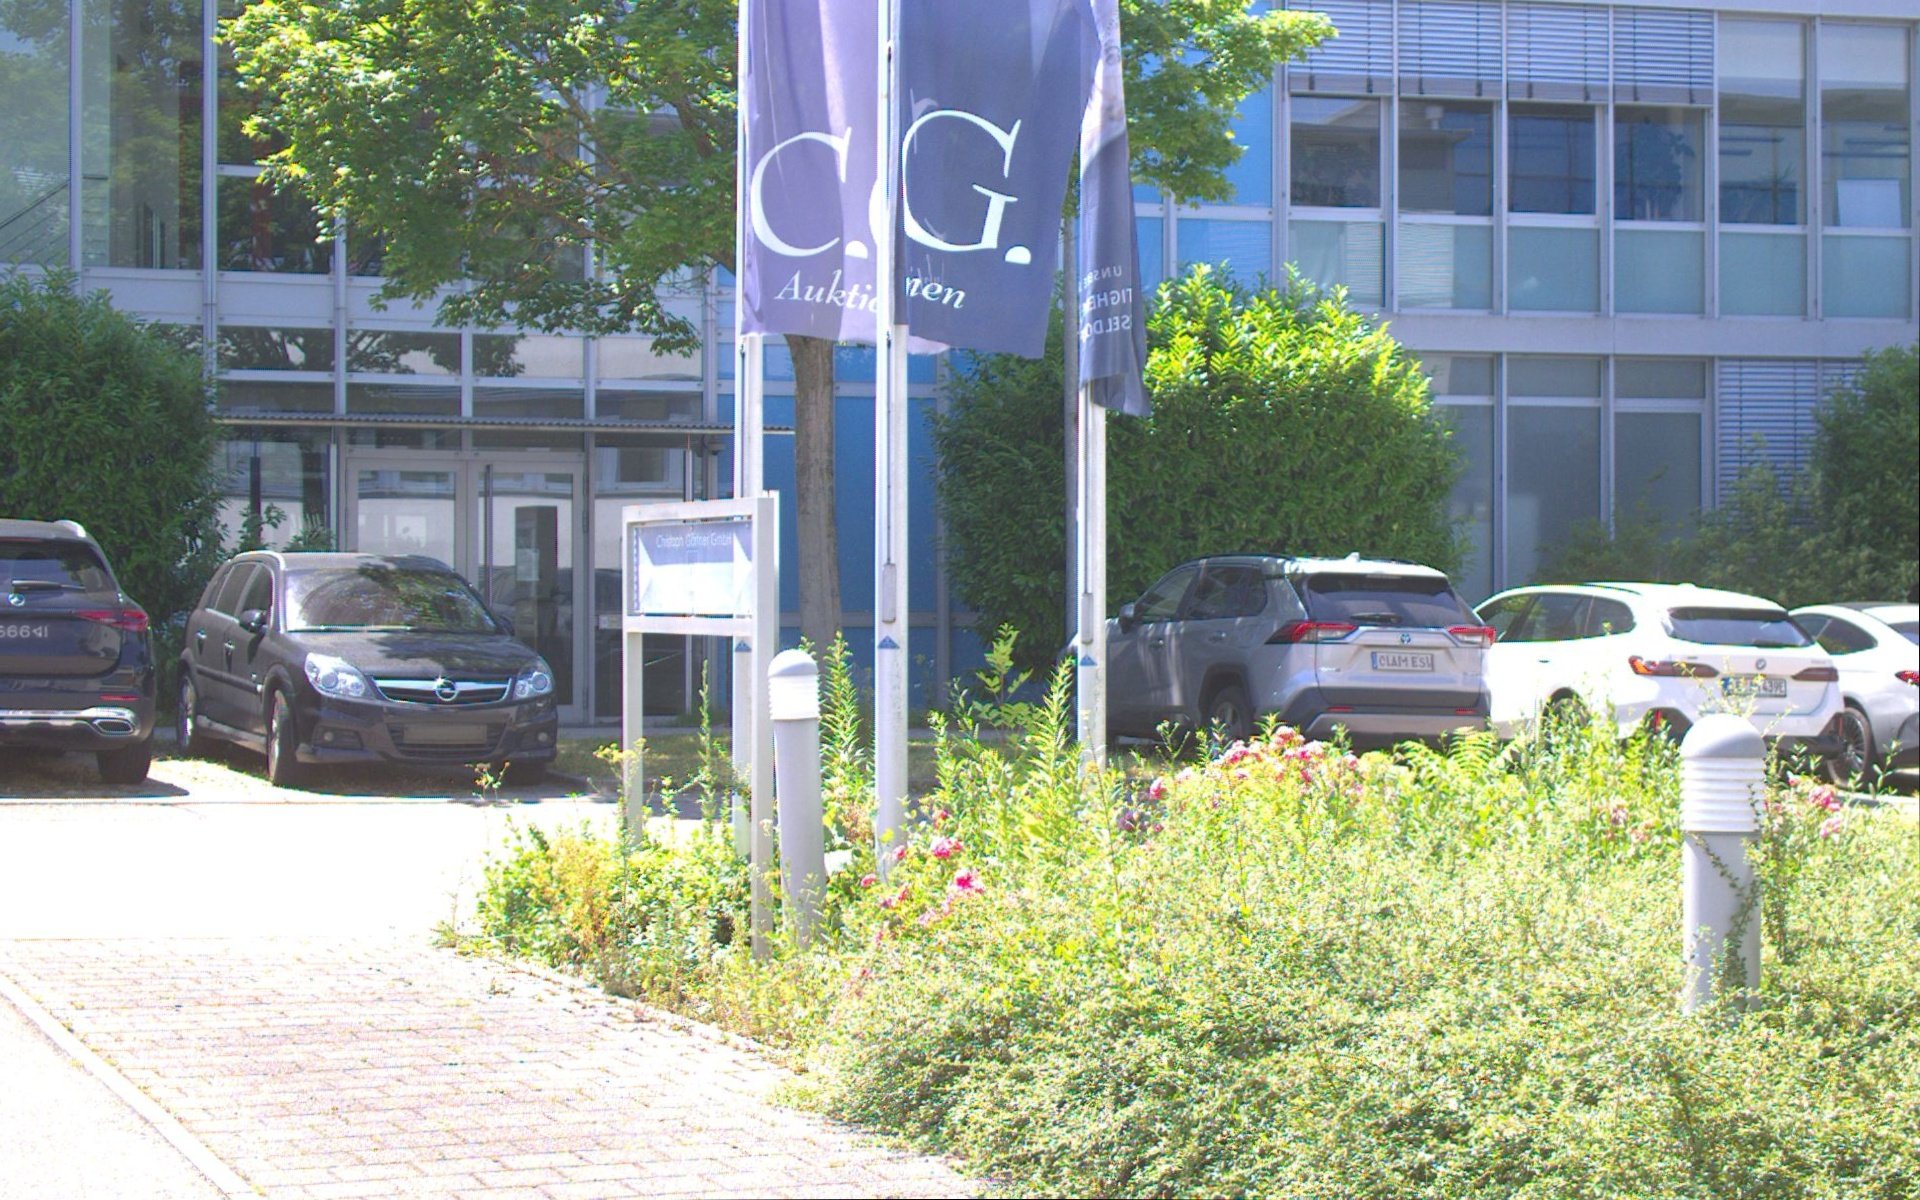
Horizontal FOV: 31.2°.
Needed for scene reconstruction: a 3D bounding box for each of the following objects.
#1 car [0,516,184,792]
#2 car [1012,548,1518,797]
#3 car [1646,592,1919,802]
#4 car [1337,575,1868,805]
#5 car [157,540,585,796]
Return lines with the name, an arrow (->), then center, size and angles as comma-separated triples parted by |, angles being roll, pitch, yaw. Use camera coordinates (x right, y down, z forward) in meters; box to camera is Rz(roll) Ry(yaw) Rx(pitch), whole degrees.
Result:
car -> -6.374, 0.259, 21.990 | 1.926, 1.605, 3.987 | 2, 1, -25
car -> 2.157, 0.470, 25.637 | 1.819, 1.614, 4.341 | 1, 1, -24
car -> 7.246, 0.730, 27.267 | 1.735, 1.425, 4.341 | 2, 1, -15
car -> 4.772, 0.629, 26.202 | 1.735, 1.486, 4.341 | 2, 1, -25
car -> -4.038, 0.386, 22.991 | 1.769, 1.477, 4.260 | 1, 1, -24
